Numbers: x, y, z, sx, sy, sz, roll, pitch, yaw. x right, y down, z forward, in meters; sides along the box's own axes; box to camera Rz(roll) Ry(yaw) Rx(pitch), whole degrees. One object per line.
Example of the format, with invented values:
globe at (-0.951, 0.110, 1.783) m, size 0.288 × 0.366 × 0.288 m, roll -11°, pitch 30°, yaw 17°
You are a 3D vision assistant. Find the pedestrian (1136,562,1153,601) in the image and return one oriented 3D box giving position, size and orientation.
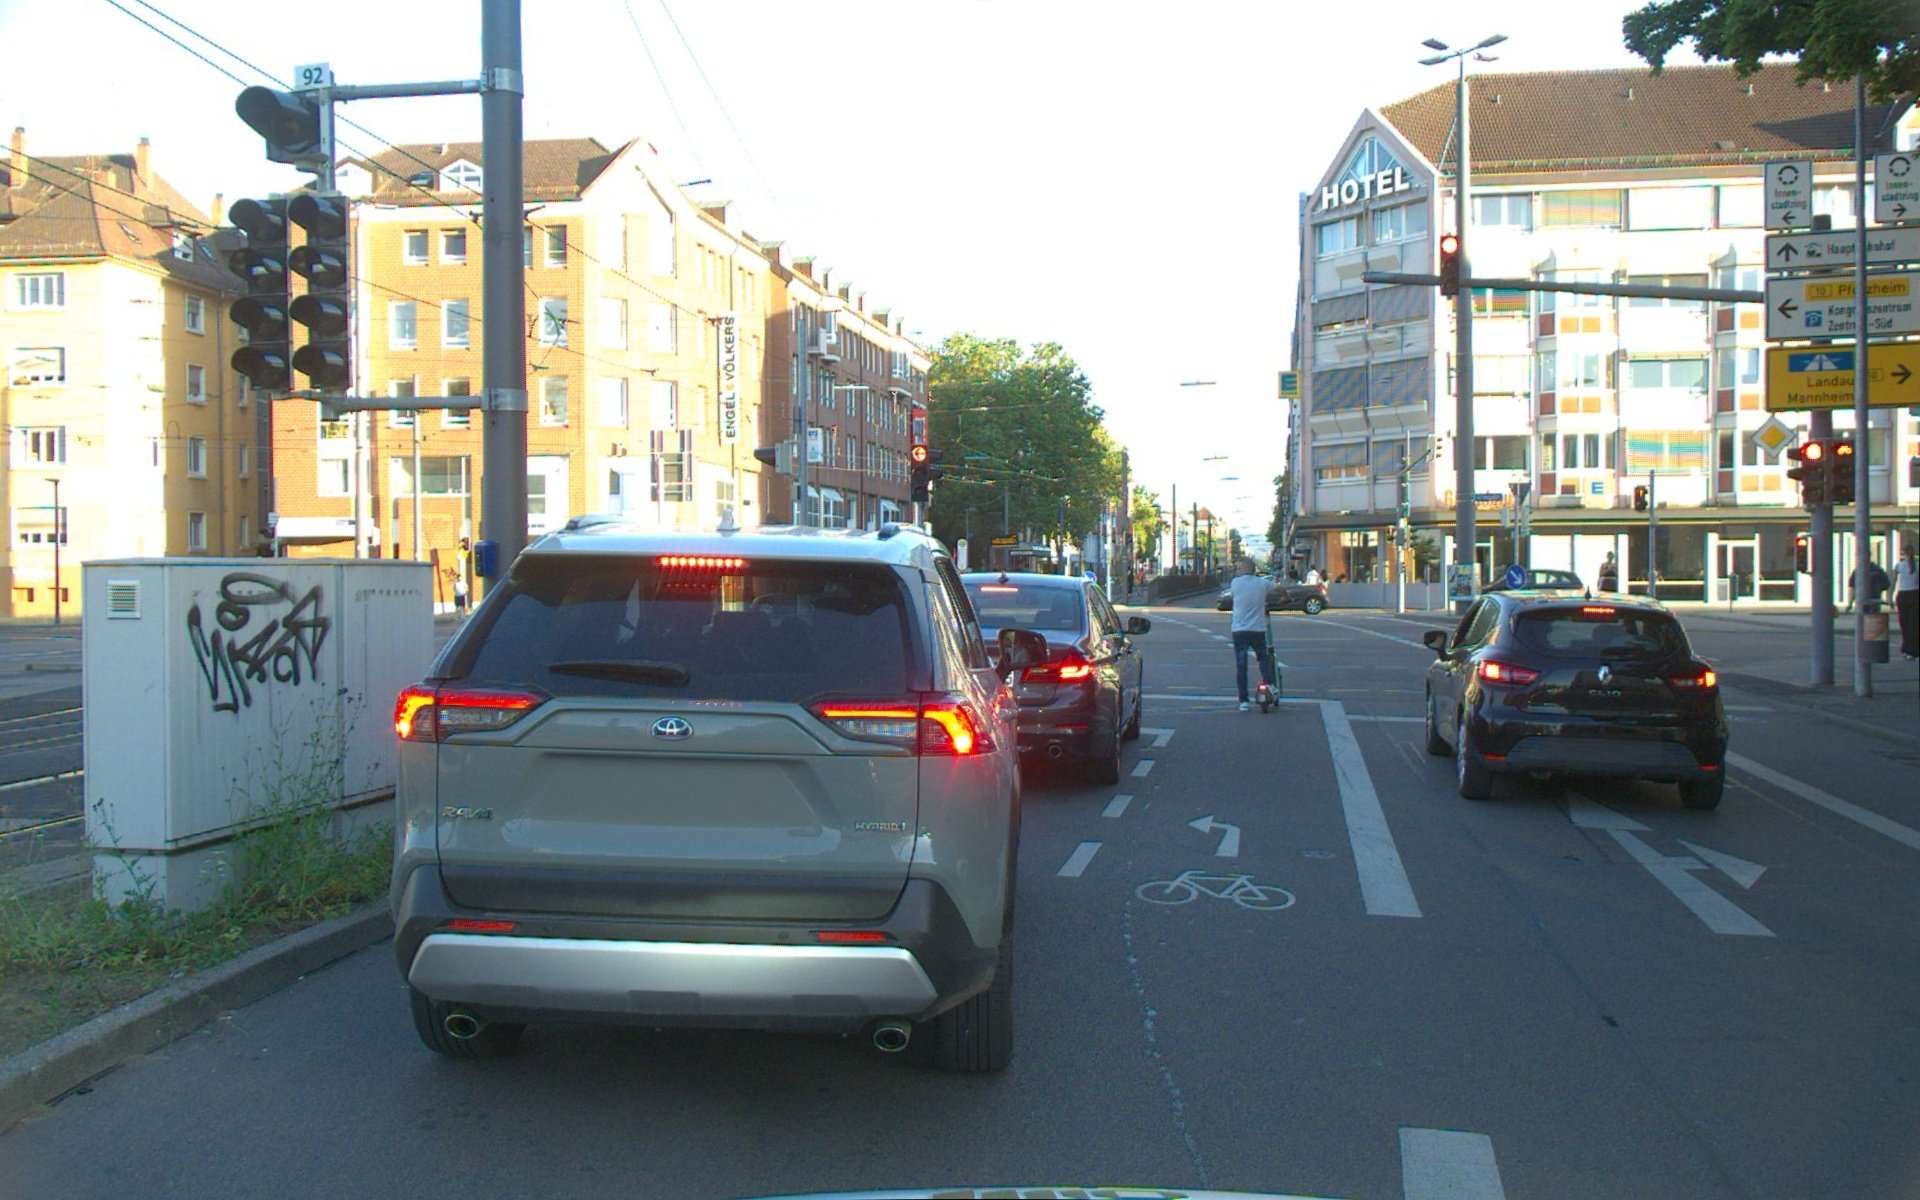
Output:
pedestrian at (9.027, -0.905, 80.873) m, size 0.686 × 1.854 × 0.809 m, roll 1°, pitch 1°, yaw 12°

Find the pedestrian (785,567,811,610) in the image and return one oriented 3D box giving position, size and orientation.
pedestrian at (-7.875, -0.569, 80.477) m, size 1.070 × 2.048 × 0.909 m, roll 1°, pitch 1°, yaw 8°

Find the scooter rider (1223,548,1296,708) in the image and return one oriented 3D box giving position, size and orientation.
scooter rider at (3.230, 0.291, 17.832) m, size 0.648 × 1.675 × 0.661 m, roll 1°, pitch 1°, yaw 19°

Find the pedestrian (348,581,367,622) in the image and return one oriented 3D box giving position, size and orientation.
pedestrian at (-24.951, 0.053, 68.503) m, size 0.539 × 1.671 × 0.501 m, roll 1°, pitch 1°, yaw 9°

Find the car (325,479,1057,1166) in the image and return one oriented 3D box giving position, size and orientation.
car at (-0.601, 0.508, 6.129) m, size 1.797 × 1.664 × 4.092 m, roll 1°, pitch 1°, yaw 2°

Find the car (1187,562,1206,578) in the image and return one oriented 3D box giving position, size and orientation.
car at (28.955, -3.677, 202.573) m, size 1.951 × 1.892 × 4.004 m, roll 1°, pitch 1°, yaw 13°

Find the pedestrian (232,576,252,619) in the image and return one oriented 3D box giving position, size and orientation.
pedestrian at (-30.075, -0.110, 69.292) m, size 0.654 × 1.773 × 0.688 m, roll 1°, pitch 0°, yaw -15°

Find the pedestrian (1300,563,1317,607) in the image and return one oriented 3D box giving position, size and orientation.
pedestrian at (14.389, -0.617, 68.225) m, size 0.487 × 1.805 × 0.471 m, roll -1°, pitch 1°, yaw -27°

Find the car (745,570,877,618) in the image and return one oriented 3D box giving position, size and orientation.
car at (-5.394, -0.230, 60.188) m, size 4.455 × 1.648 × 2.000 m, roll 1°, pitch 1°, yaw 8°

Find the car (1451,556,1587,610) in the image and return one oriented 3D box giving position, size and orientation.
car at (19.275, -0.595, 57.153) m, size 4.144 × 1.725 × 2.002 m, roll 1°, pitch 1°, yaw 9°

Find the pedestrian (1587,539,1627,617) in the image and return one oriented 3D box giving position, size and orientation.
pedestrian at (15.296, -0.529, 39.091) m, size 0.730 × 1.809 × 0.801 m, roll 1°, pitch 1°, yaw 13°

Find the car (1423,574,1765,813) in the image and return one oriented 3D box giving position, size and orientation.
car at (4.582, 0.557, 12.530) m, size 1.726 × 1.465 × 4.004 m, roll 1°, pitch 1°, yaw 11°

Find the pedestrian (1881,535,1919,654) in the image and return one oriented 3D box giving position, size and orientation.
pedestrian at (15.291, -0.087, 26.454) m, size 0.716 × 1.862 × 0.991 m, roll 2°, pitch 1°, yaw 44°

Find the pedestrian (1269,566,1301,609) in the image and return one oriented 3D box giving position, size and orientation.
pedestrian at (13.463, -0.537, 68.538) m, size 0.922 × 1.756 × 0.844 m, roll 1°, pitch 1°, yaw -30°

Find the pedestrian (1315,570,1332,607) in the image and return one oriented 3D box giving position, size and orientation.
pedestrian at (15.008, -0.482, 68.348) m, size 0.487 × 1.529 × 0.471 m, roll -1°, pitch 1°, yaw -27°

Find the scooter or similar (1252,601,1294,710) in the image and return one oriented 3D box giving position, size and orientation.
scooter or similar at (3.366, 0.575, 17.750) m, size 0.273 × 1.109 × 1.258 m, roll 1°, pitch 1°, yaw 17°

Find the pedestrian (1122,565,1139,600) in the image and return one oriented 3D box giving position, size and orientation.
pedestrian at (8.393, -0.845, 81.336) m, size 0.686 × 1.693 × 0.809 m, roll 1°, pitch 1°, yaw 12°

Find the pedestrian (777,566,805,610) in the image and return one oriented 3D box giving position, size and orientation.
pedestrian at (-8.092, -0.568, 79.197) m, size 1.070 × 2.048 × 0.909 m, roll 1°, pitch 1°, yaw 8°

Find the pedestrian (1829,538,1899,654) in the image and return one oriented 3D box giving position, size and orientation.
pedestrian at (14.775, -0.072, 27.023) m, size 0.990 × 1.862 × 0.717 m, roll 0°, pitch 1°, yaw -45°

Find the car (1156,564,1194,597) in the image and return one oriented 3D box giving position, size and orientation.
car at (12.107, -1.110, 92.885) m, size 1.773 × 1.777 × 3.718 m, roll 1°, pitch 1°, yaw 12°

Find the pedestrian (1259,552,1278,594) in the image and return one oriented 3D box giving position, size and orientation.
pedestrian at (16.637, -1.479, 89.206) m, size 0.912 × 2.234 × 0.853 m, roll 1°, pitch 1°, yaw 8°

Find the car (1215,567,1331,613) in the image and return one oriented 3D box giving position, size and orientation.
car at (10.995, -0.374, 58.293) m, size 3.902 × 1.502 × 2.002 m, roll 1°, pitch 1°, yaw 9°

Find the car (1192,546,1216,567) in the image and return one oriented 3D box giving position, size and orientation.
car at (23.403, -4.173, 158.612) m, size 1.951 × 1.933 × 4.004 m, roll 1°, pitch 1°, yaw 12°

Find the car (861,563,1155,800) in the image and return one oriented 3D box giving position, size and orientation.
car at (0.558, 0.477, 13.072) m, size 1.707 × 1.486 × 4.414 m, roll 1°, pitch 2°, yaw 9°

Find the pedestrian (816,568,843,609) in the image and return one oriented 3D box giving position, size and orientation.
pedestrian at (-6.623, -0.605, 83.989) m, size 1.070 × 2.048 × 1.164 m, roll 1°, pitch 1°, yaw 8°
